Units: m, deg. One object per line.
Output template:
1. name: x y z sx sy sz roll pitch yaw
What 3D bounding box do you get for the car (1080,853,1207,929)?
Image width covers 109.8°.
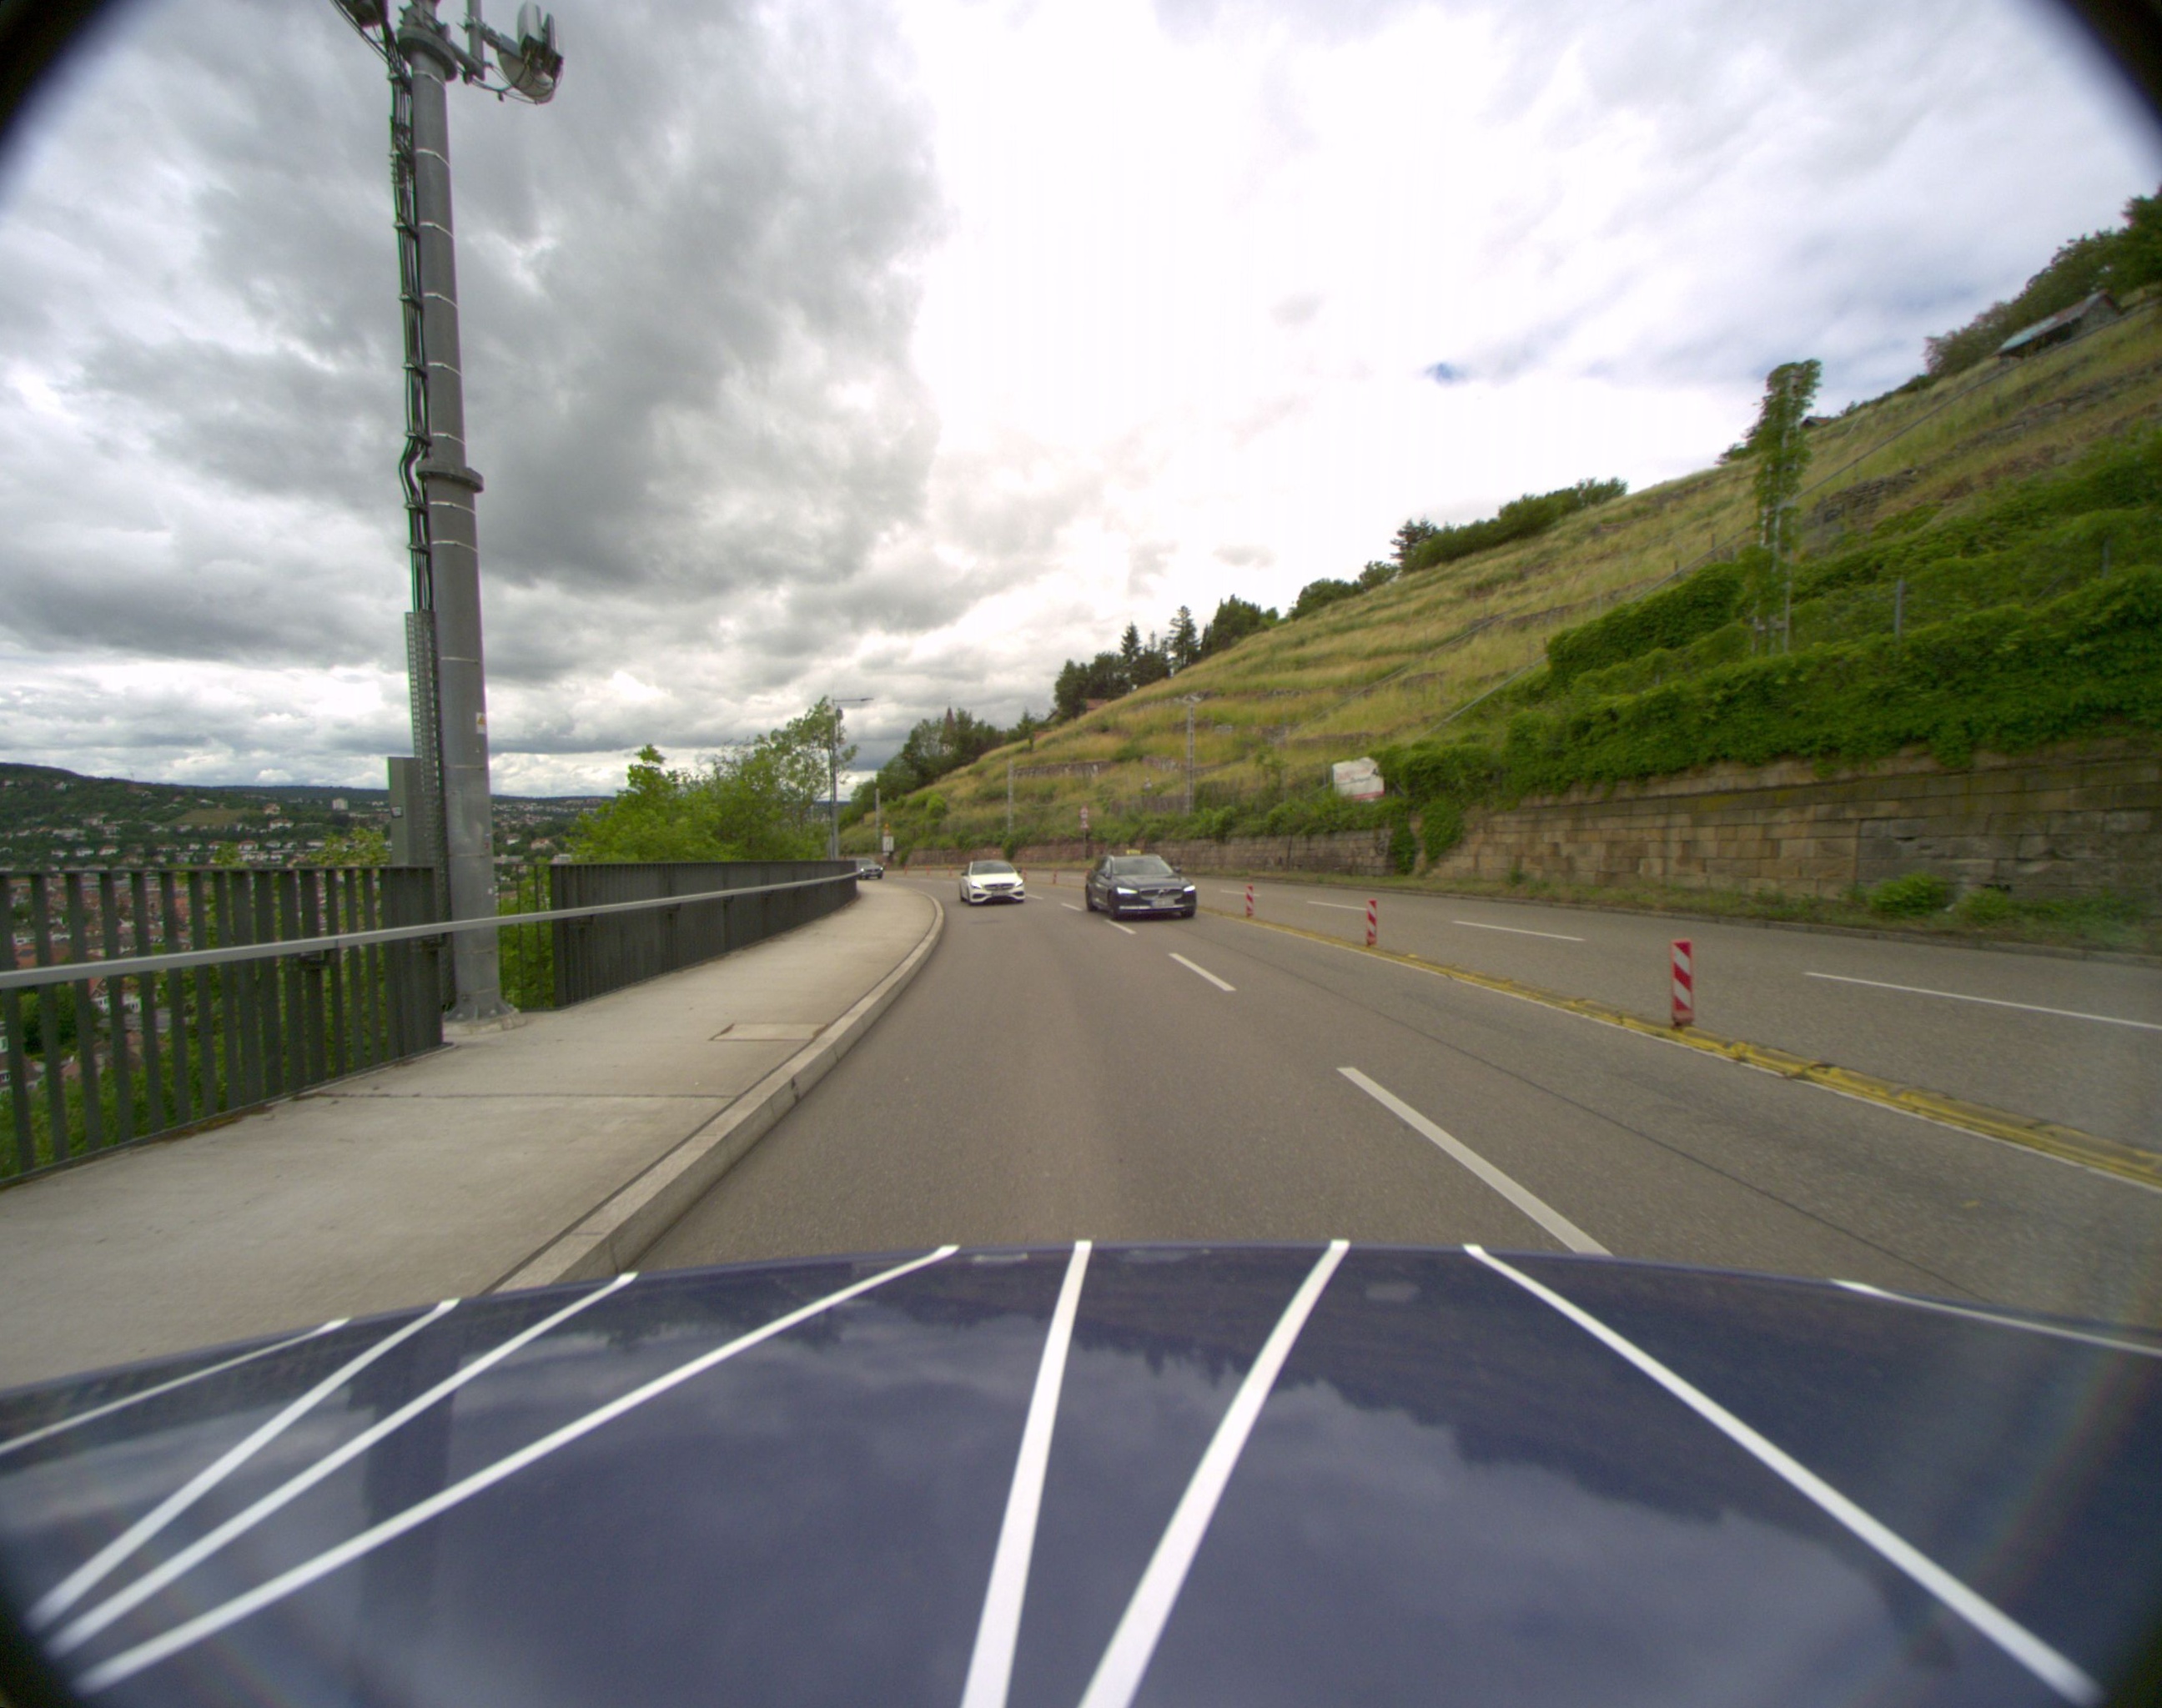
1. car: 1.318 0.758 17.923 1.902 1.485 4.137 -3 1 -11

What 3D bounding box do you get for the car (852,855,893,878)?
1. car: -16.037 0.945 58.258 2.003 1.661 4.527 -2 1 -29

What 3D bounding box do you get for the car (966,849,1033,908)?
1. car: -2.832 0.768 25.651 2.000 1.708 3.997 -3 0 -9
